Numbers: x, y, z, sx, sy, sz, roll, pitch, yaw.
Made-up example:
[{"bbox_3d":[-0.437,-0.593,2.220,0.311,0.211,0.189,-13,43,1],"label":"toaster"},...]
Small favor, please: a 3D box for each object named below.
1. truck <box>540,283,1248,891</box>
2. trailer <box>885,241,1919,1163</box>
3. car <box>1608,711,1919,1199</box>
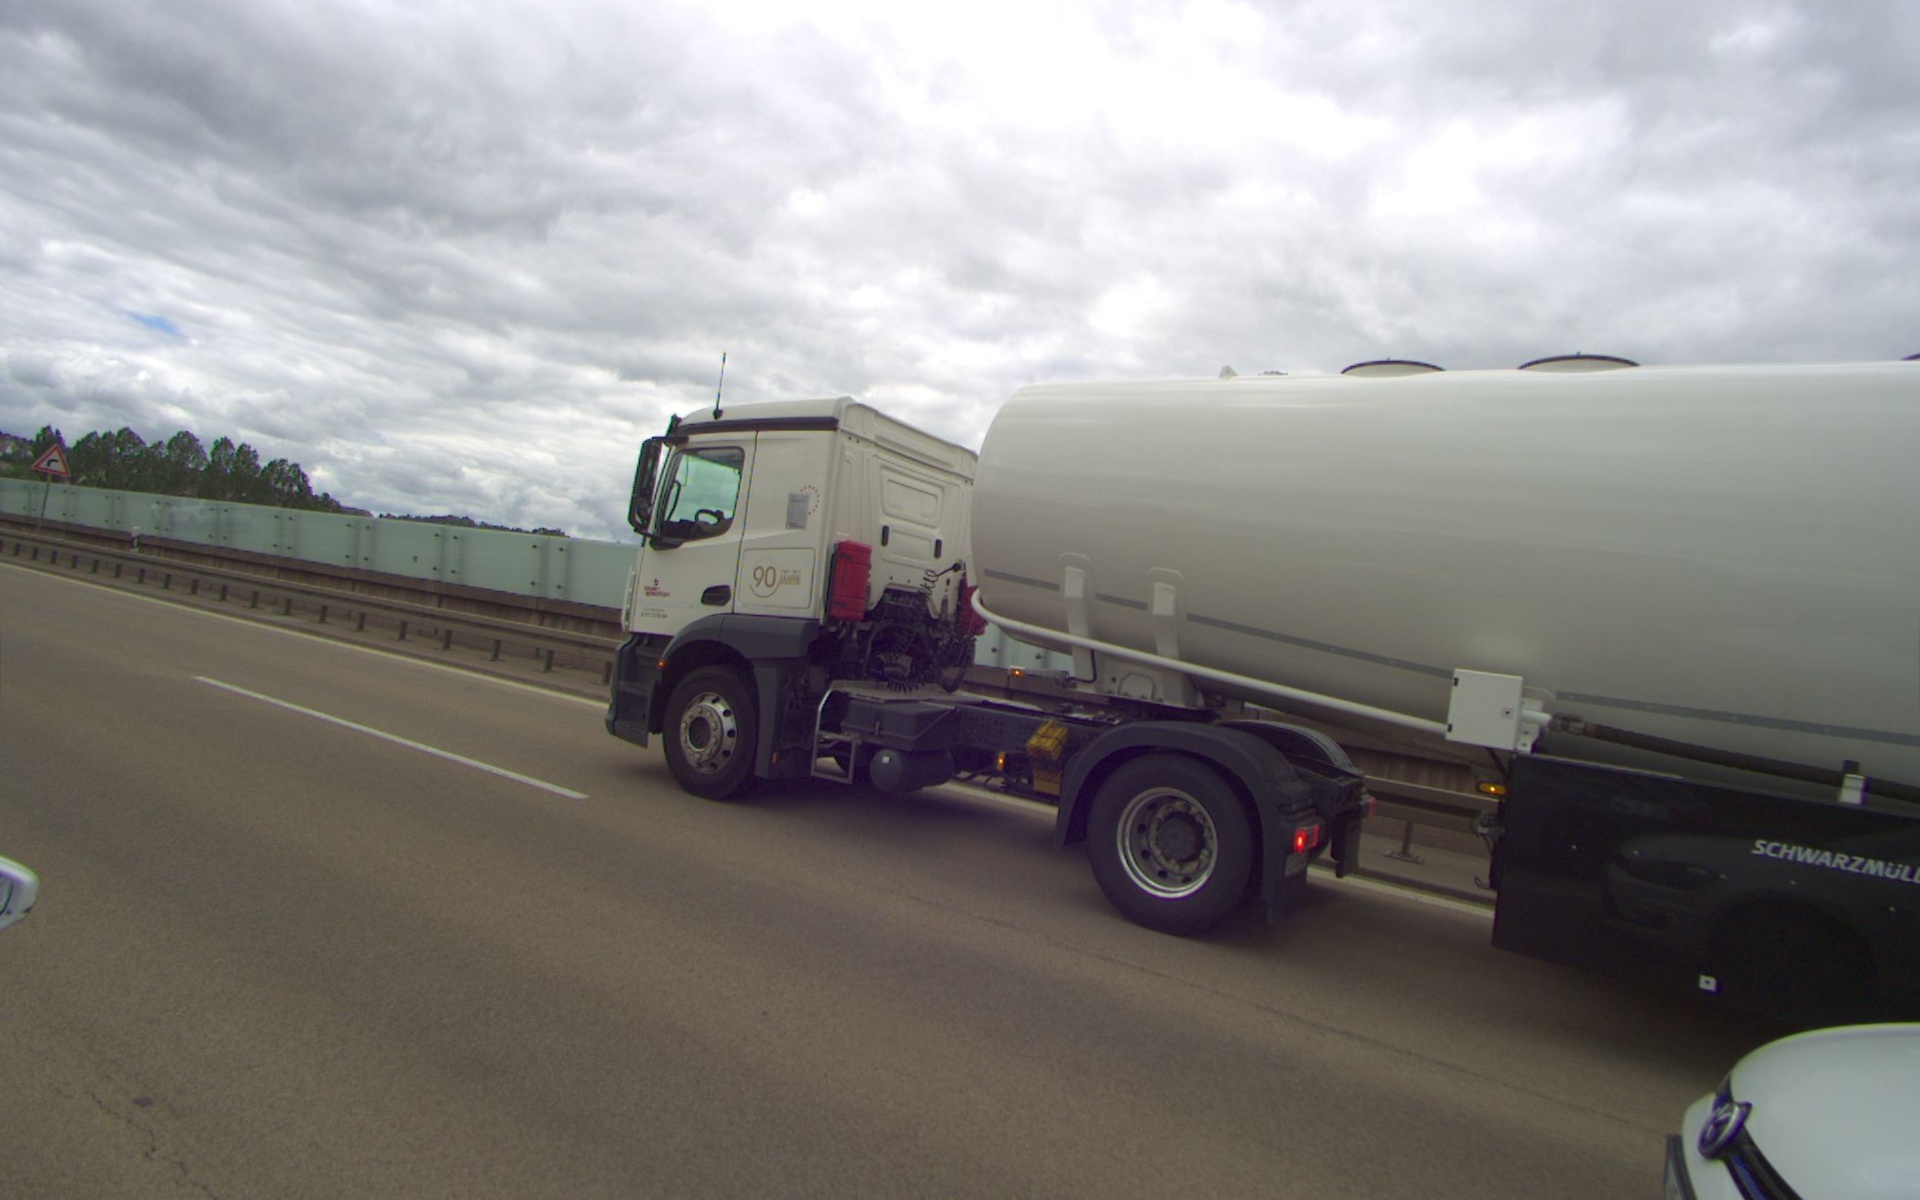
[{"bbox_3d":[-0.588,-0.158,8.246,4.823,3.555,2.635,6,-1,32],"label":"truck"},{"bbox_3d":[5.064,0.557,4.672,11.035,3.585,2.655,7,-1,32],"label":"trailer"},{"bbox_3d":[3.280,1.197,1.197,4.004,1.469,1.757,7,-1,31],"label":"car"}]
